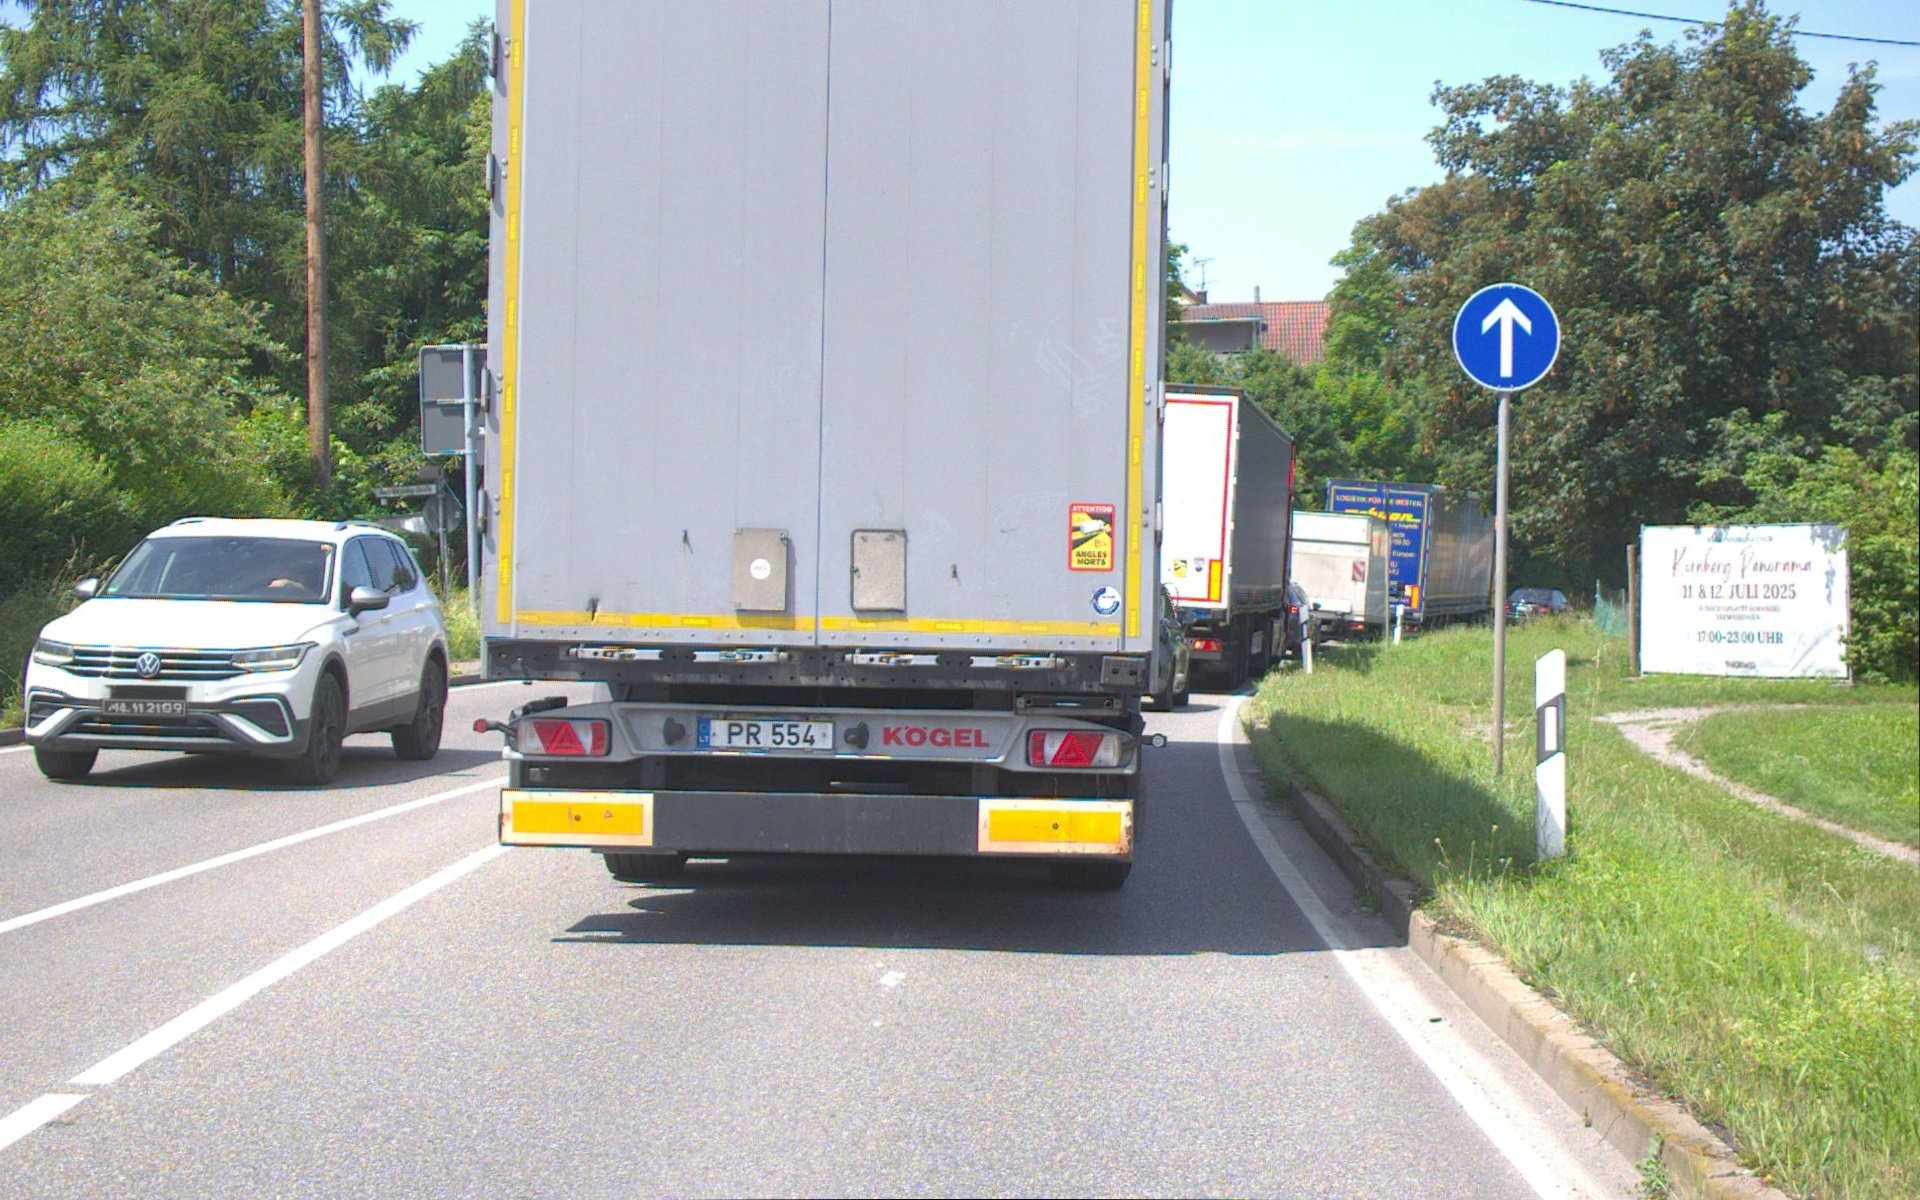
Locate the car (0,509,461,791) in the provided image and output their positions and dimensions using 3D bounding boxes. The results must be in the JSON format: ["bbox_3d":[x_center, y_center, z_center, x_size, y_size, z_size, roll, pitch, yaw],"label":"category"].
[{"bbox_3d":[-4.704,0.253,22.728,1.846,1.649,4.403,1,1,4],"label":"car"}]

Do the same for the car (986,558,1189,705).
[{"bbox_3d":[1.509,0.314,39.156,1.994,1.525,3.999,1,1,6],"label":"car"}]

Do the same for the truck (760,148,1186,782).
[{"bbox_3d":[0.280,-0.960,25.836,2.746,4.151,6.142,1,1,4],"label":"truck"}]

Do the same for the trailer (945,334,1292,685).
[{"bbox_3d":[2.646,-1.245,50.845,3.892,4.505,12.709,1,1,8],"label":"trailer"}]

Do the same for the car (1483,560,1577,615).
[{"bbox_3d":[18.098,-0.420,109.051,1.996,1.678,3.995,1,1,24],"label":"car"}]

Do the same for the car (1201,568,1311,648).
[{"bbox_3d":[5.936,0.130,68.635,1.842,1.481,3.999,1,1,10],"label":"car"}]

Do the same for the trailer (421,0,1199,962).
[{"bbox_3d":[-0.183,-0.933,18.564,2.787,4.191,12.110,1,1,3],"label":"trailer"}]

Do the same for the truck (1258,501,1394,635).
[{"bbox_3d":[8.191,-0.745,76.482,2.422,2.828,5.409,1,1,12],"label":"truck"}]

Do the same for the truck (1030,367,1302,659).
[{"bbox_3d":[3.593,-1.418,57.793,3.938,4.559,7.149,1,1,8],"label":"truck"}]

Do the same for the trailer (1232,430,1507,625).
[{"bbox_3d":[11.052,-1.889,90.408,5.183,4.612,15.886,1,1,14],"label":"trailer"}]
